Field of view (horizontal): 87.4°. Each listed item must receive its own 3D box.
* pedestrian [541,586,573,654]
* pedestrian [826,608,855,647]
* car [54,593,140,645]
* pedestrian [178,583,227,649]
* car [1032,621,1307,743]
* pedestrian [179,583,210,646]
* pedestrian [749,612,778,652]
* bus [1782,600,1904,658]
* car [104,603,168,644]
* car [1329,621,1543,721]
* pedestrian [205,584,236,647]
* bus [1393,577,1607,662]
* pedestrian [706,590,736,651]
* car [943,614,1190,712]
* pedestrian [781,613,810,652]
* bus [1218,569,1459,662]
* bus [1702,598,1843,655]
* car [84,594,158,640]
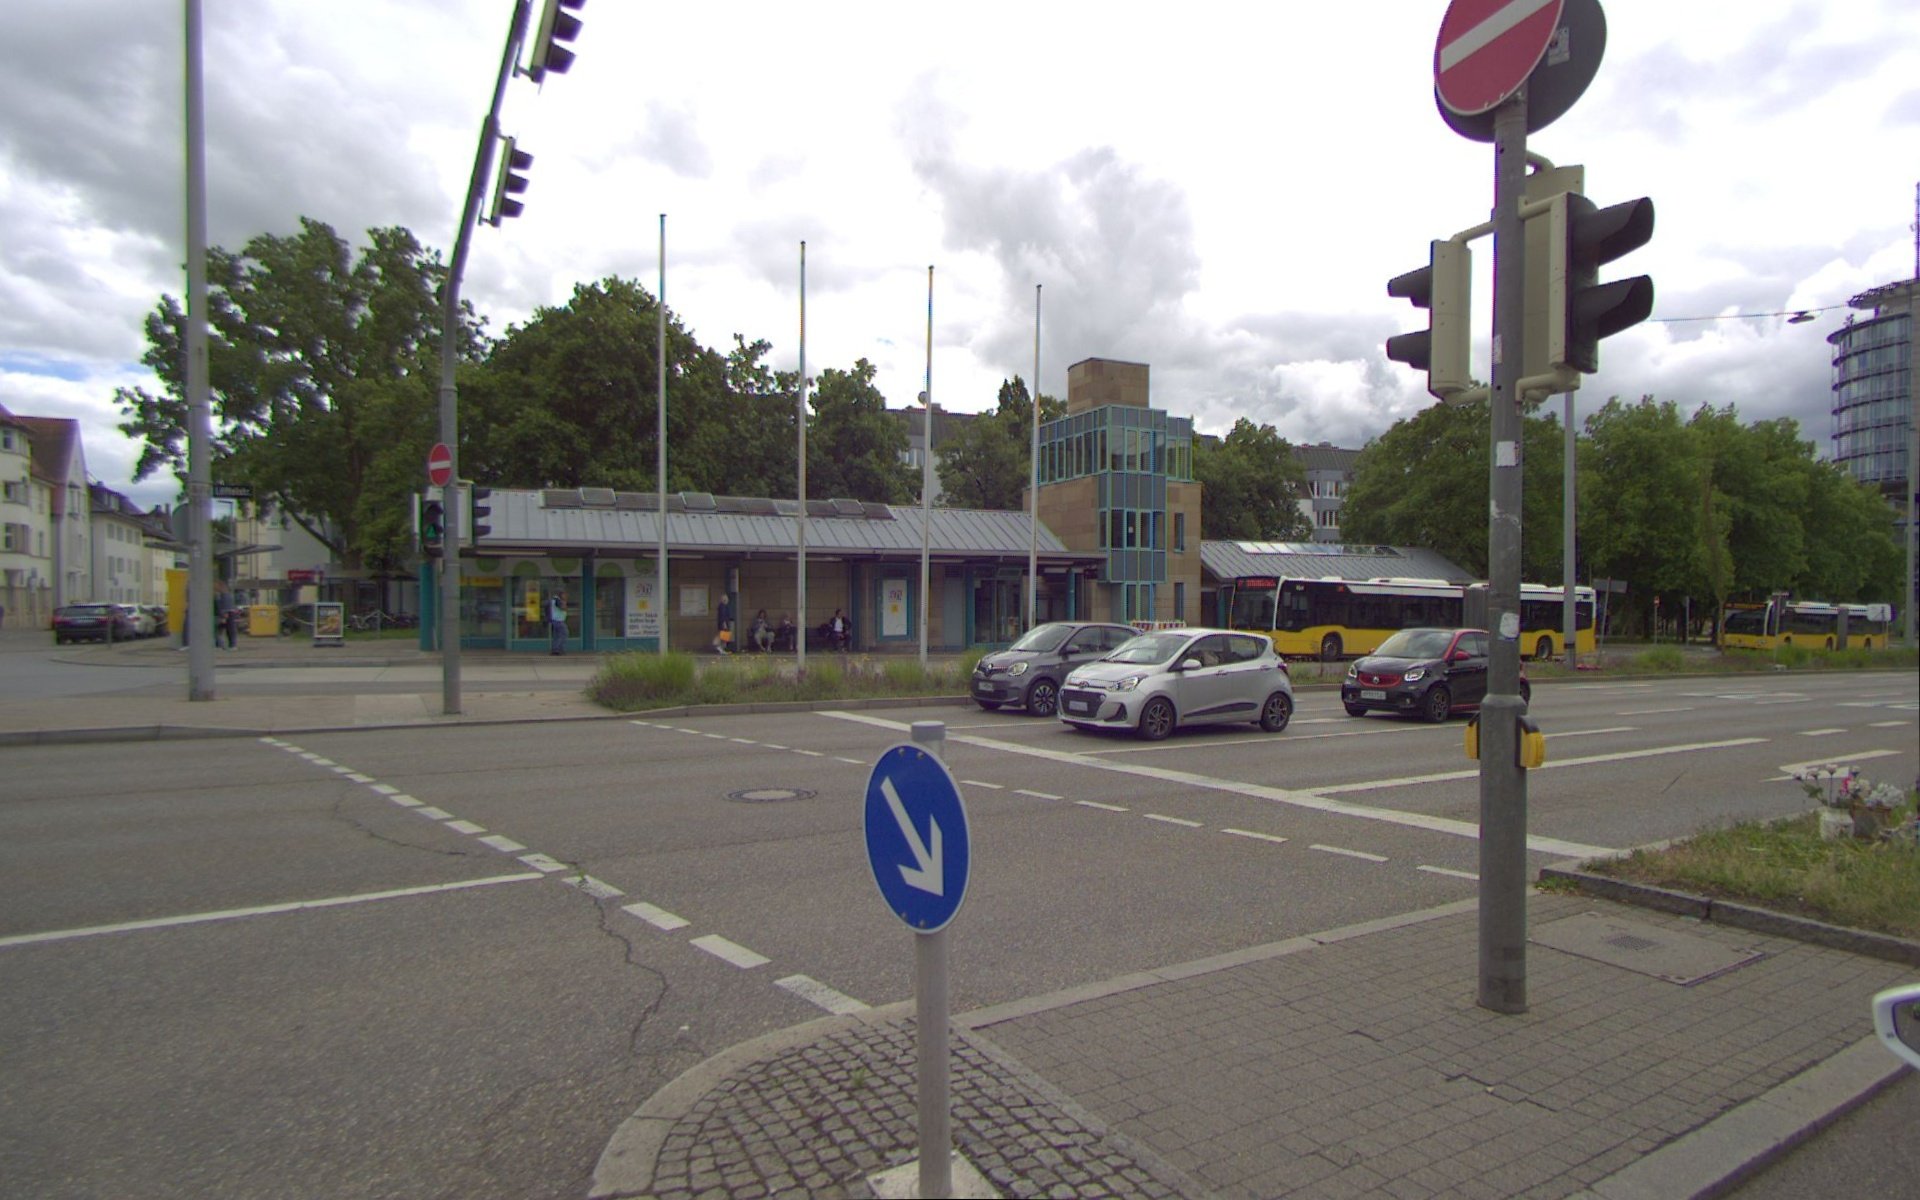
[{"bbox_3d":[-10.086,0.489,25.142,0.650,1.671,0.617,2,-1,-28],"label":"pedestrian"},{"bbox_3d":[-3.614,0.828,30.359,0.650,1.136,0.617,2,-1,-28],"label":"pedestrian"},{"bbox_3d":[-31.608,0.658,36.903,1.980,1.706,3.960,1,1,-35],"label":"car"},{"bbox_3d":[-18.480,0.396,24.512,0.520,1.568,0.754,1,0,15],"label":"pedestrian"},{"bbox_3d":[3.059,1.077,14.472,3.748,1.485,1.735,1,0,-33],"label":"car"},{"bbox_3d":[-19.172,0.364,25.145,0.475,1.568,0.384,1,0,15],"label":"pedestrian"},{"bbox_3d":[-5.726,0.934,29.266,0.650,1.136,0.617,2,-1,-28],"label":"pedestrian"},{"bbox_3d":[58.539,1.932,66.514,9.793,3.502,3.017,2,1,-30],"label":"bus"},{"bbox_3d":[-37.772,1.055,46.129,1.980,1.706,3.960,1,1,-35],"label":"car"},{"bbox_3d":[8.286,1.183,17.418,3.729,1.528,1.649,2,-1,-33],"label":"car"},{"bbox_3d":[-18.601,0.381,25.275,0.475,1.568,0.384,1,0,15],"label":"pedestrian"},{"bbox_3d":[22.360,0.818,41.461,9.174,3.174,2.800,1,1,-25],"label":"bus"},{"bbox_3d":[-6.616,0.567,27.830,0.650,1.671,0.617,2,-1,-28],"label":"pedestrian"},{"bbox_3d":[1.870,1.055,17.461,3.951,1.528,1.807,2,-1,-29],"label":"car"},{"bbox_3d":[-4.860,0.961,29.673,0.650,1.136,0.617,2,-1,-28],"label":"pedestrian"},{"bbox_3d":[14.232,0.597,37.483,9.315,3.174,2.766,1,1,-27],"label":"bus"},{"bbox_3d":[49.615,1.615,61.206,10.611,3.205,3.068,2,1,-30],"label":"bus"},{"bbox_3d":[-34.714,0.677,41.652,1.980,1.706,3.960,1,1,-35],"label":"car"}]
